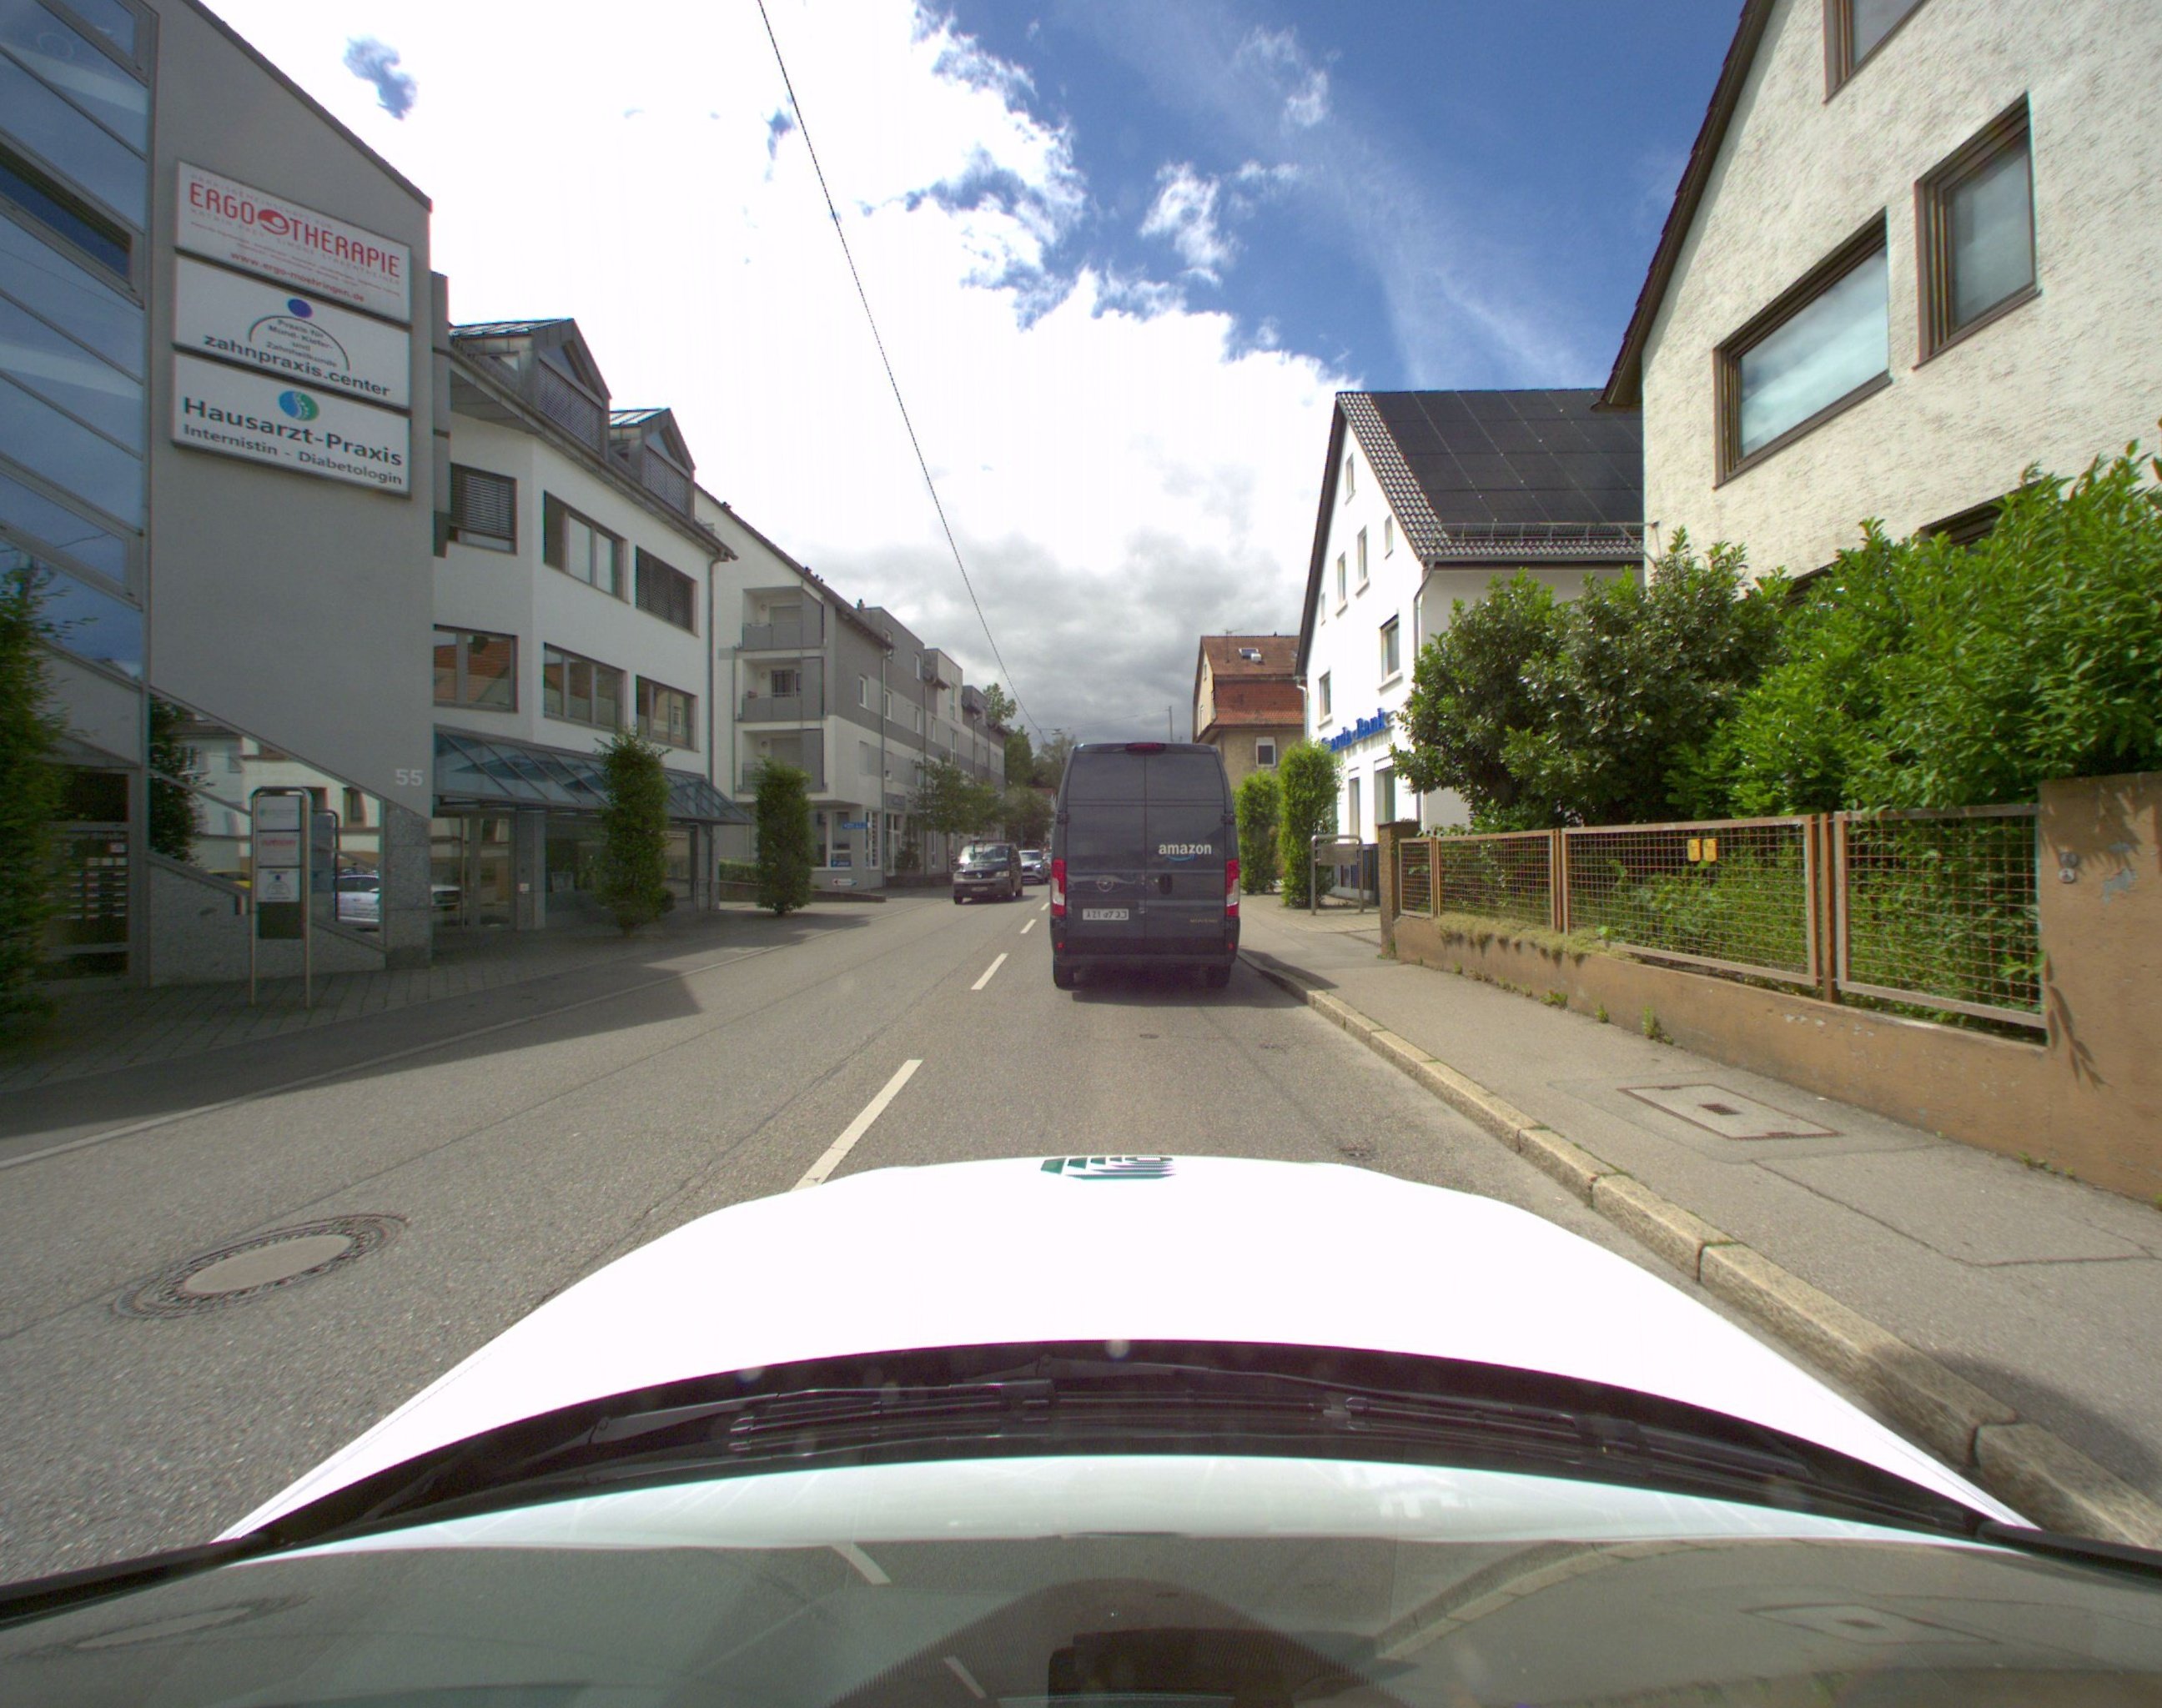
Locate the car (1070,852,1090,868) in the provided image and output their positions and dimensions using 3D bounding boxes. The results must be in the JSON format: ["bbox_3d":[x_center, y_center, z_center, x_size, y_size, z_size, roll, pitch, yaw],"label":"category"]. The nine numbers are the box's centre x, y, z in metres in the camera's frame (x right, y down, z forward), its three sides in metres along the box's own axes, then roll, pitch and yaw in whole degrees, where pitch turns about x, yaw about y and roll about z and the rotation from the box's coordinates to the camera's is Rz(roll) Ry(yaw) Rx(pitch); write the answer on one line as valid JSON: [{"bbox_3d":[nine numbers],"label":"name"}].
[{"bbox_3d":[-0.044,0.654,88.360,2.098,1.596,4.649,-1,0,0],"label":"car"}]

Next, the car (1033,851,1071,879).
[{"bbox_3d":[-1.738,0.620,49.660,2.098,1.596,4.649,-1,0,0],"label":"car"}]

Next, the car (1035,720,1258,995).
[{"bbox_3d":[0.743,0.036,11.177,2.244,2.795,5.571,-1,0,1],"label":"car"}]

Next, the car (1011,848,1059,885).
[{"bbox_3d":[-2.235,0.579,40.724,2.098,1.709,4.765,-1,0,0],"label":"car"}]

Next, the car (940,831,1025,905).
[{"bbox_3d":[-3.123,0.431,26.917,2.098,2.121,4.765,-3,0,0],"label":"car"}]

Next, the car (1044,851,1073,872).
[{"bbox_3d":[-1.766,0.595,64.804,2.098,1.596,4.649,-1,0,0],"label":"car"}]
